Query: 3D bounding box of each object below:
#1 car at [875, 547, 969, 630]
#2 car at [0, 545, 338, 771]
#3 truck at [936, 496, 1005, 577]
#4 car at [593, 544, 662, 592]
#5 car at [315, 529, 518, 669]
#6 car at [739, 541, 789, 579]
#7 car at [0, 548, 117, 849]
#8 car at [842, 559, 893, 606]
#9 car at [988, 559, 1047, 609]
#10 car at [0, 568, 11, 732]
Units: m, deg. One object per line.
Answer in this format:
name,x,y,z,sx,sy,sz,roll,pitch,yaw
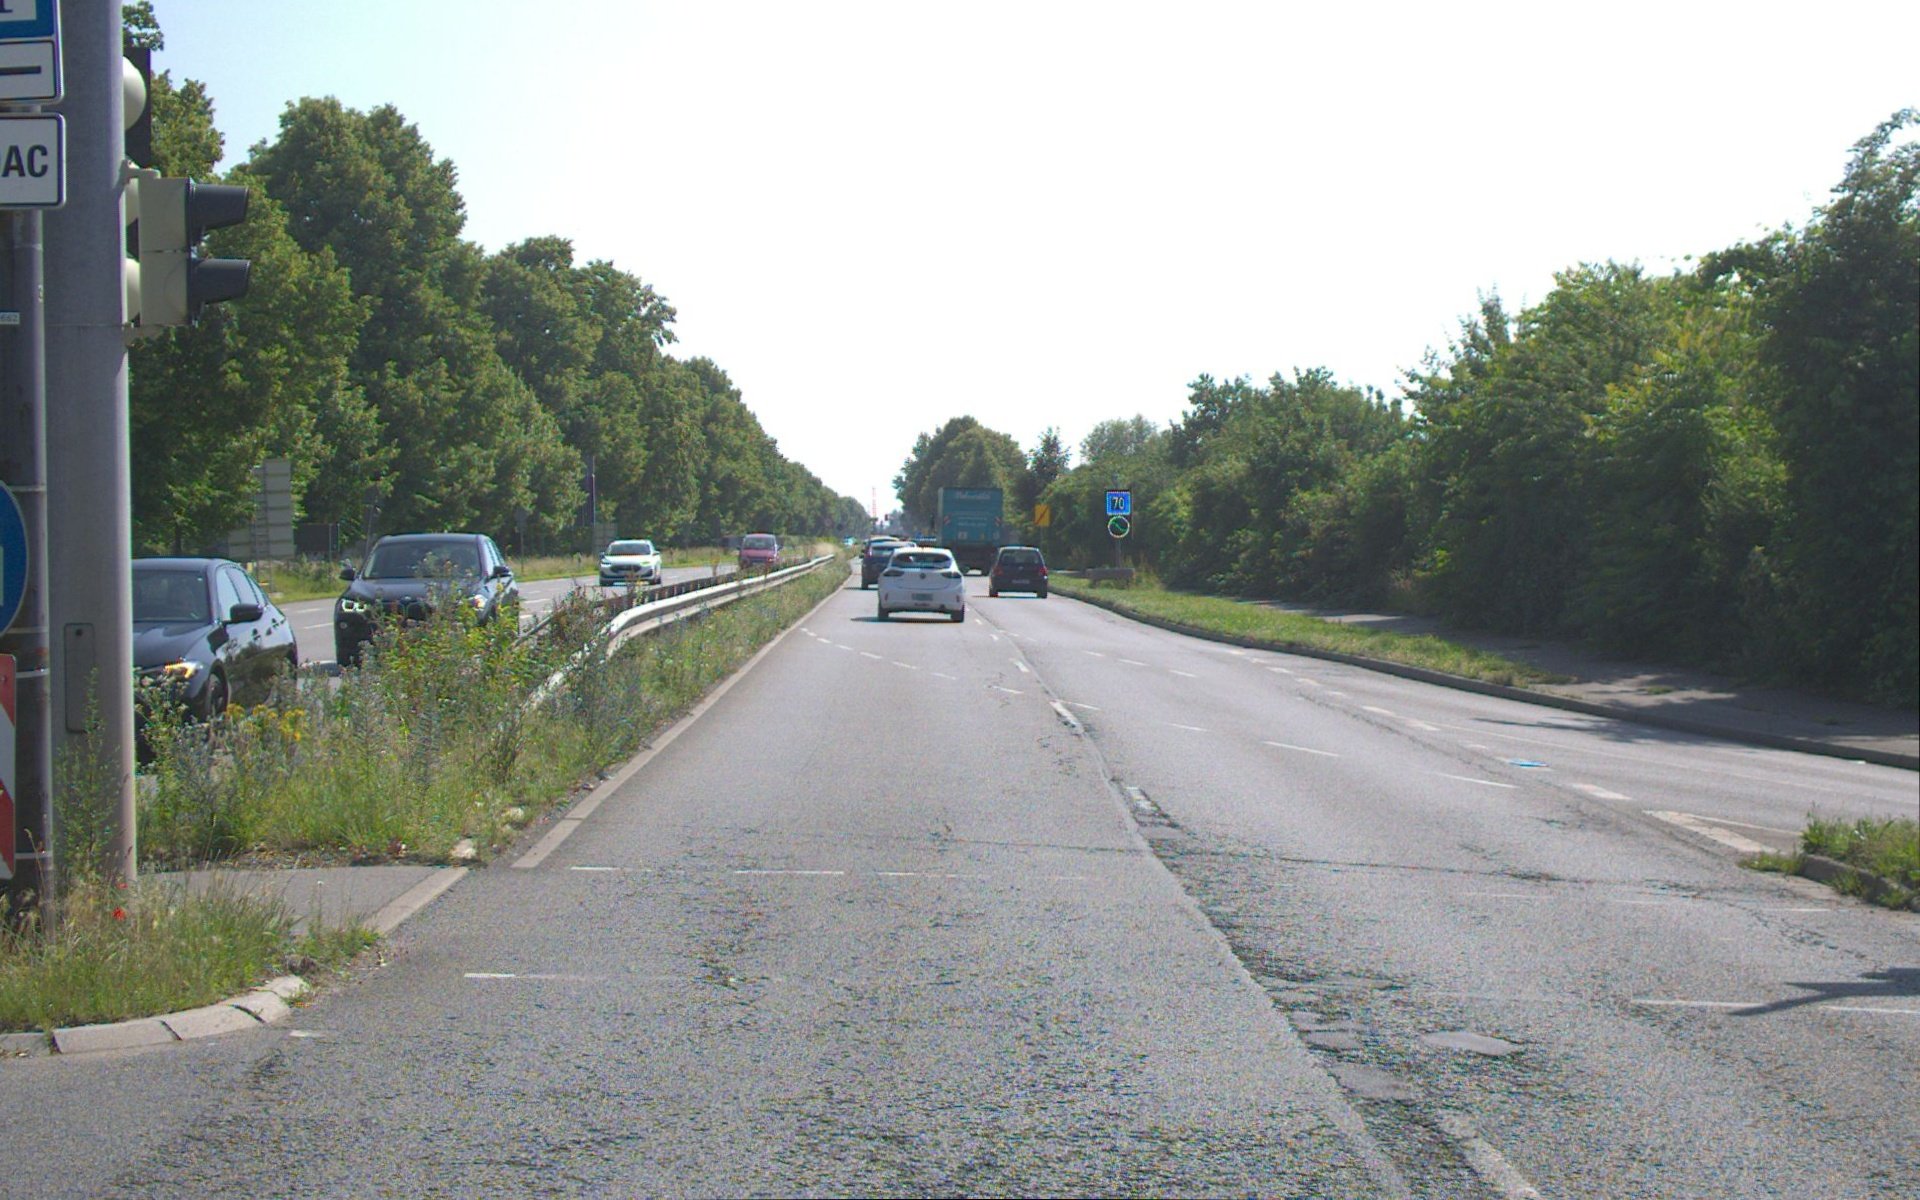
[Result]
car,-0.740,-0.252,68.690,1.798,1.547,4.000,1,2,0
car,-6.017,0.351,25.568,1.817,1.480,4.893,1,1,1
truck,0.416,-2.803,150.213,2.891,3.417,9.170,0,1,-1
car,-10.797,-1.042,111.803,1.993,1.497,4.091,0,1,-2
car,-6.507,-0.048,41.608,1.846,1.589,4.617,0,1,-2
car,-7.993,-1.651,140.412,1.912,1.497,4.091,0,1,-2
car,-6.146,0.526,19.020,2.010,1.604,4.211,-1,1,-1
car,-2.911,-0.569,108.873,1.572,1.409,3.278,0,1,-1
car,1.631,-0.460,98.053,1.572,1.410,3.277,1,0,0
car,-9.424,0.502,28.403,1.930,1.432,4.267,-1,1,0
